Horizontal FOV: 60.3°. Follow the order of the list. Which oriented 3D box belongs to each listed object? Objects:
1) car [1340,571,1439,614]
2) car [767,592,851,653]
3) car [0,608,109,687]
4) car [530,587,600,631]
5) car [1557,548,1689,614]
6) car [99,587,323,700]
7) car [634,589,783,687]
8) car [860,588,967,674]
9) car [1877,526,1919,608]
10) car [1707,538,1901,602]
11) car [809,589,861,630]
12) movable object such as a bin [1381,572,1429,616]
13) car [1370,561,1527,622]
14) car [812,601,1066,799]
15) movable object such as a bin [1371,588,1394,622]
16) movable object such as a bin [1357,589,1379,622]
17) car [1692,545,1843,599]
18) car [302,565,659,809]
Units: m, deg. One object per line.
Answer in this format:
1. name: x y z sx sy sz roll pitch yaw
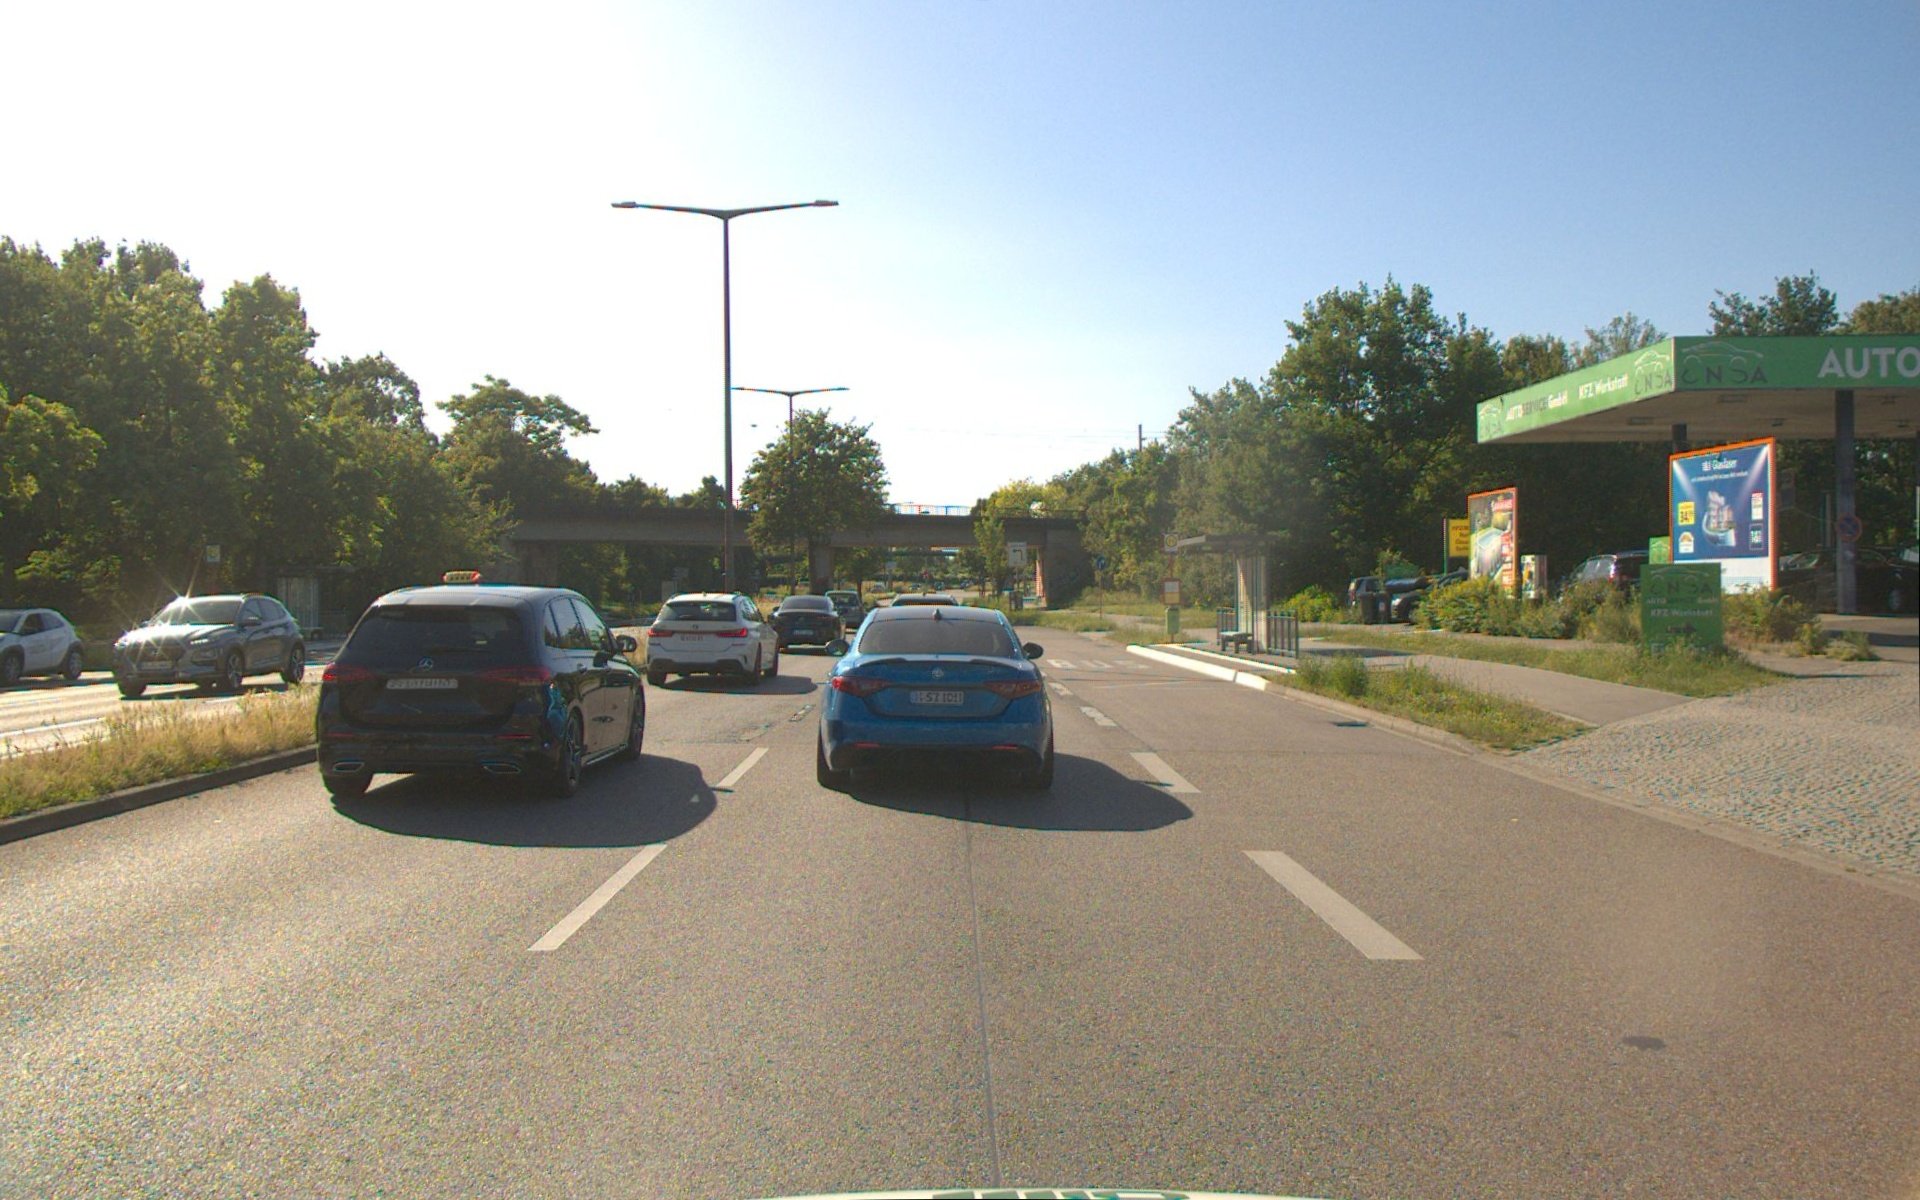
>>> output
1. car: 15.874 -0.282 61.179 3.216 1.512 1.772 1 0 0
2. car: -3.874 0.549 43.106 1.845 1.479 4.525 1 0 -1
3. car: -19.486 0.934 33.873 1.953 1.500 4.195 -1 0 -1
4. car: -16.662 0.367 69.892 1.953 1.713 4.176 -2 0 -1
5. car: 17.181 -0.488 43.069 1.709 1.600 4.248 -1 0 0
6. car: -12.368 0.667 27.618 1.836 1.670 4.170 -2 0 -1
7. car: -4.118 0.586 27.758 1.845 1.479 4.525 1 0 -1
8. car: -0.843 0.538 31.092 1.845 1.479 4.525 1 0 -1
9. car: 20.821 -0.670 33.757 1.953 1.676 3.999 1 0 -1
10. car: 21.389 -0.736 42.035 1.979 1.512 3.947 1 0 -37
11. car: -4.773 0.332 63.665 1.743 1.479 4.181 -1 0 -1
12. movable object such as a bin: 14.895 -0.212 55.419 0.981 1.453 1.240 -1 1 -43
13. car: 15.539 -0.277 52.637 4.459 1.668 1.799 -3 0 29
14. car: -0.182 0.734 14.219 1.845 1.431 4.223 1 0 -1
15. movable object such as a bin: 14.318 0.152 56.048 0.577 1.140 0.502 -1 0 -43
16. movable object such as a bin: 13.908 0.184 56.401 0.577 1.093 0.502 0 1 -43
17. car: 25.135 -0.852 51.557 3.909 1.543 1.696 -2 0 -5
18. car: -3.620 0.587 13.277 1.673 1.626 4.223 1 0 -1
